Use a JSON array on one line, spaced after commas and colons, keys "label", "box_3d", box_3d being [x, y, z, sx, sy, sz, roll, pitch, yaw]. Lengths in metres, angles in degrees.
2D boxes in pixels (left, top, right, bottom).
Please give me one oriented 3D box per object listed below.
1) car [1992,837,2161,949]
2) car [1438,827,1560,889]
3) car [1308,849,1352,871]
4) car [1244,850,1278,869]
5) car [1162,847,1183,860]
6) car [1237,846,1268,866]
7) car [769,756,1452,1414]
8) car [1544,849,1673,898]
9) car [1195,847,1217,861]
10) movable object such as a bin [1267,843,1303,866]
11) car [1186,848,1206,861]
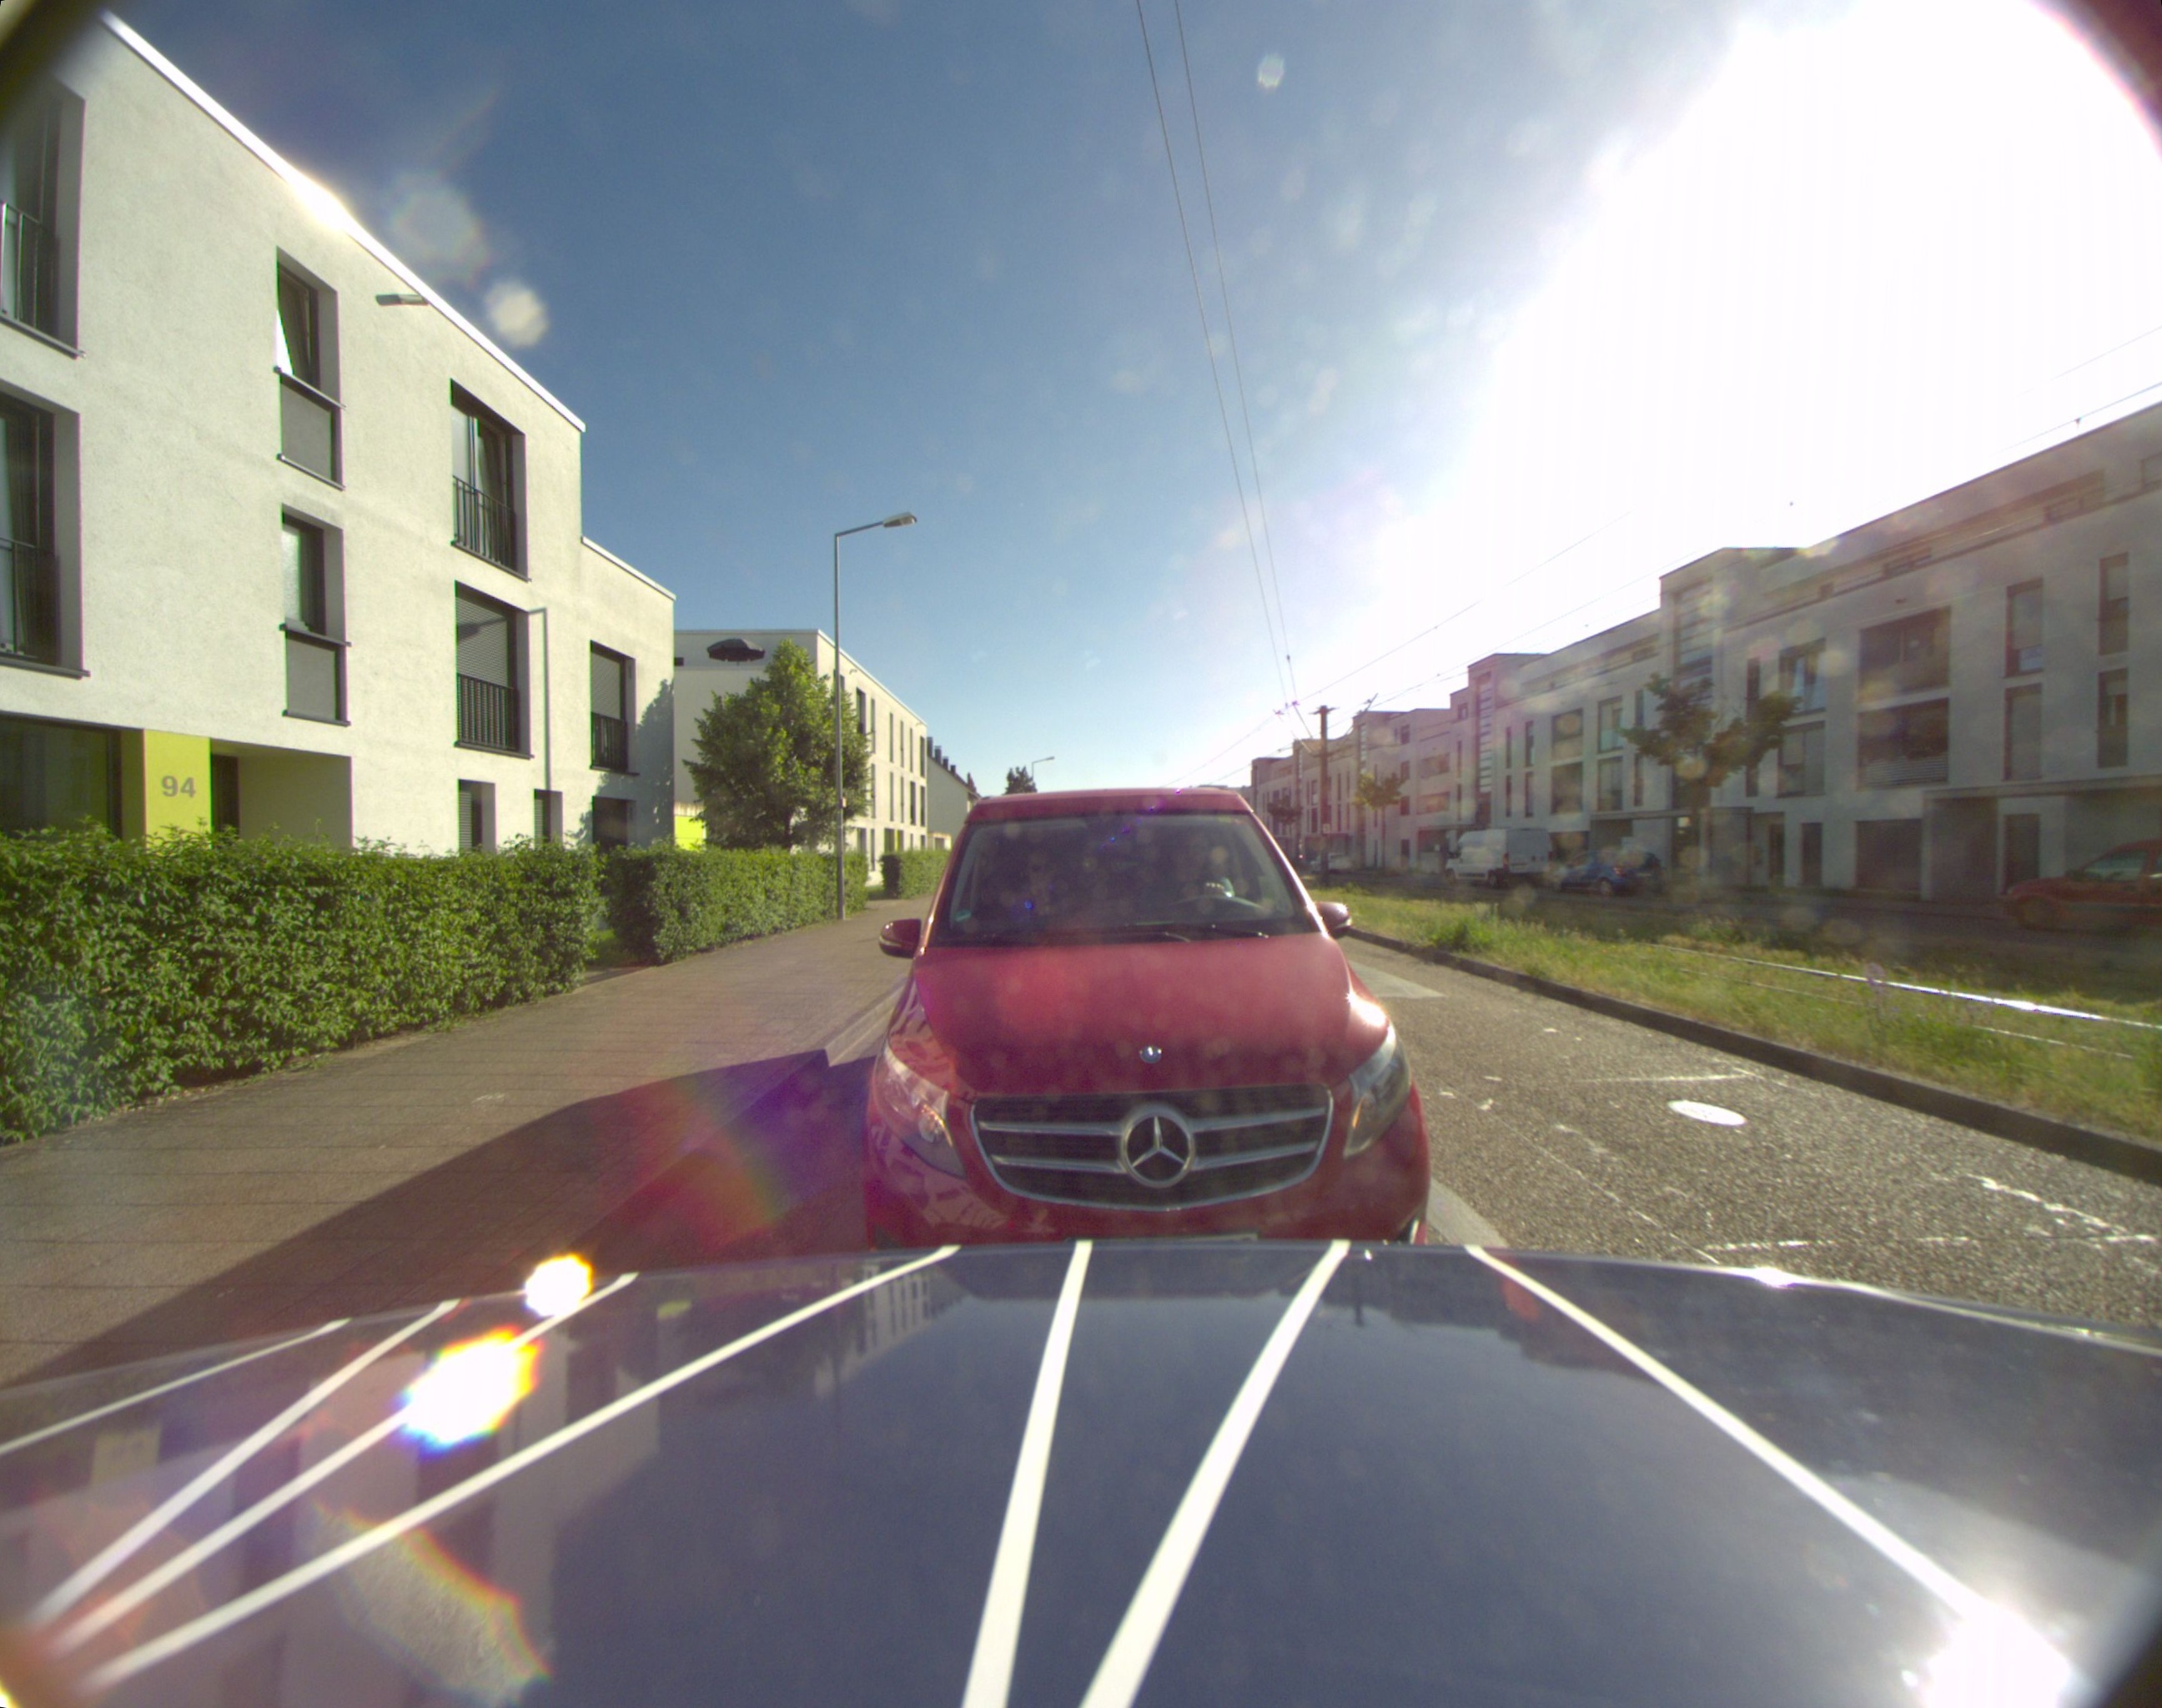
[{"label": "car", "box_3d": [18.585, 0.624, 12.808, 1.885, 1.785, 3.837, -2, 0, 1]}, {"label": "car", "box_3d": [18.144, 0.144, 33.406, 2.146, 2.430, 5.588, -2, 0, -1]}, {"label": "car", "box_3d": [17.572, 0.419, 53.787, 1.521, 1.424, 4.155, -2, 0, -4]}, {"label": "car", "box_3d": [14.219, 0.440, 60.197, 1.792, 1.410, 4.000, 1, 0, 1]}, {"label": "car", "box_3d": [12.033, -0.092, 100.104, 1.999, 1.586, 4.645, 2, 0, -2]}, {"label": "car", "box_3d": [16.712, 0.169, 74.270, 1.766, 1.859, 4.155, -2, 0, -4]}, {"label": "car", "box_3d": [0.148, 0.697, 4.886, 1.979, 1.922, 5.205, -2, 0, 1]}, {"label": "car", "box_3d": [18.242, 0.611, 26.501, 1.829, 1.528, 3.842, -2, 0, 0]}, {"label": "car", "box_3d": [15.404, -0.014, 93.956, 1.766, 1.590, 4.155, -2, 0, -4]}, {"label": "movable object such as a bin", "box_3d": [17.702, 0.056, 66.080, 1.766, 1.926, 4.155, -2, 0, -4]}, {"label": "car", "box_3d": [15.017, 0.020, 99.592, 1.766, 1.590, 4.155, -2, 0, -4]}]
